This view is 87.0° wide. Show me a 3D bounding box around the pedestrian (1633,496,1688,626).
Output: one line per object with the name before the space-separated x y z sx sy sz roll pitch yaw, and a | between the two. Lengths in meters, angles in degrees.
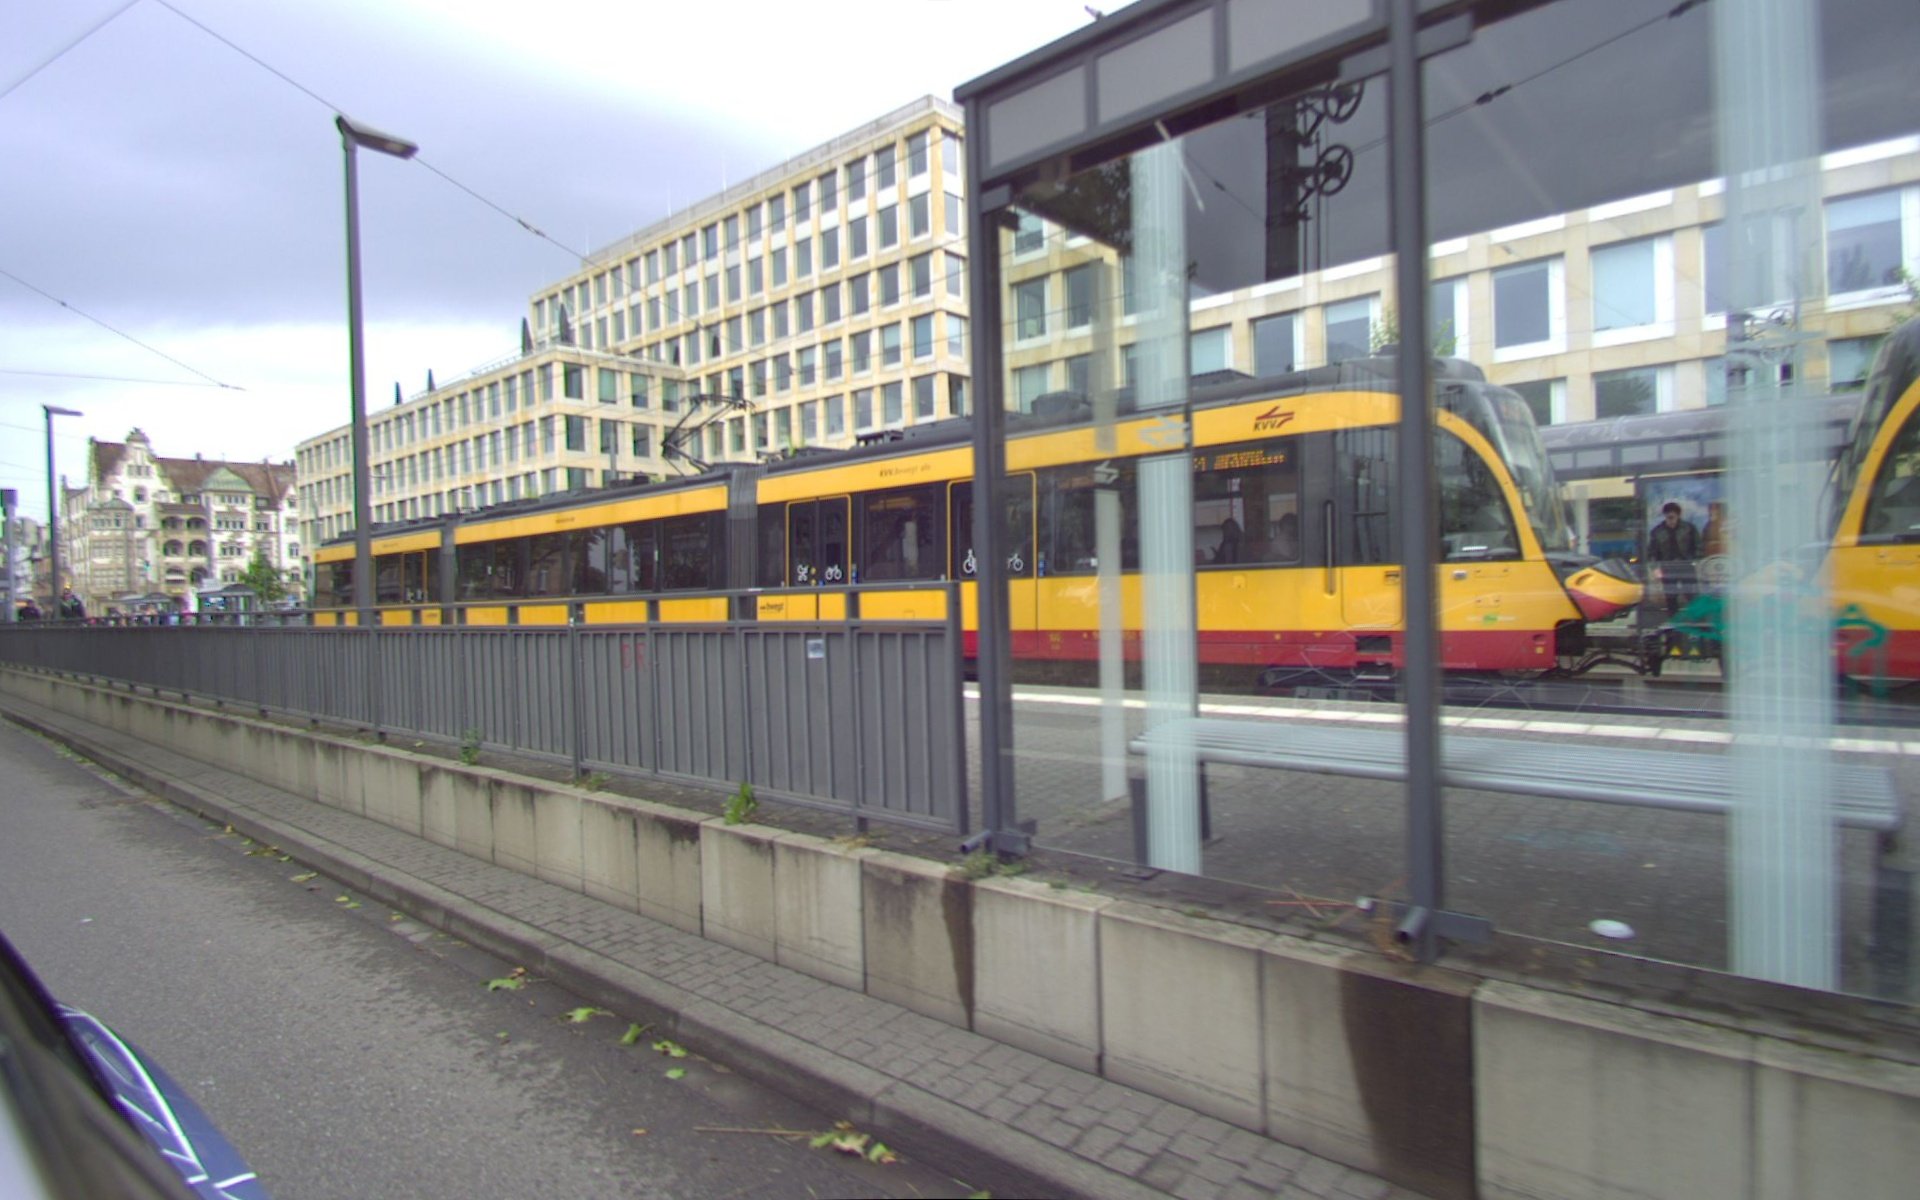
pedestrian | 9.361 -0.509 13.524 0.510 1.683 0.577 -1 0 42

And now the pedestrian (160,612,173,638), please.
pedestrian | -49.394 1.555 62.990 0.529 1.619 0.566 -1 0 -42

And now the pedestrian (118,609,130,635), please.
pedestrian | -59.486 1.571 72.035 0.588 1.783 0.589 -1 0 -42

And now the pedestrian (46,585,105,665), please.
pedestrian | -23.388 0.643 26.761 0.840 2.029 1.047 -1 0 41

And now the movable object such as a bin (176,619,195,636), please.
movable object such as a bin | -47.937 1.693 62.654 0.714 1.029 0.620 -1 0 8

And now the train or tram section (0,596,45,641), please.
train or tram section | -84.354 1.595 89.823 13.511 3.719 2.826 -1 1 40

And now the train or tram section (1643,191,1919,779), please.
train or tram section | 12.189 -0.908 4.625 14.729 4.210 3.147 -1 1 42

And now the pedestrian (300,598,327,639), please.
pedestrian | -29.292 0.836 45.837 1.159 1.809 0.704 -1 0 40

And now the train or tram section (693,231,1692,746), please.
train or tram section | 1.570 -0.871 14.002 13.615 4.210 3.147 -1 1 42

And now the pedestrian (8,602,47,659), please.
pedestrian | -30.359 0.995 32.947 1.110 1.807 0.665 -1 0 33

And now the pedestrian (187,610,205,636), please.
pedestrian | -47.753 1.433 63.245 0.649 1.619 0.578 -1 0 8

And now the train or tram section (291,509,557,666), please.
train or tram section | -16.230 -0.278 30.010 11.307 3.891 3.203 -1 1 42

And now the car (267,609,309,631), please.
car | -54.085 1.597 81.432 4.000 1.674 1.972 -1 1 43

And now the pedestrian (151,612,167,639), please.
pedestrian | -54.443 1.727 68.819 0.590 1.783 0.588 -1 0 4

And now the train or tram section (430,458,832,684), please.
train or tram section | -7.774 -0.466 22.348 11.307 3.891 3.130 -1 1 42

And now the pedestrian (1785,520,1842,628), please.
pedestrian | 10.725 -0.322 12.716 0.510 1.310 0.577 -1 0 42

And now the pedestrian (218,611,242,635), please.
pedestrian | -43.778 1.370 60.688 0.939 1.382 1.026 -1 0 44

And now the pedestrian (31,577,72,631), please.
pedestrian | -30.877 0.151 34.399 1.108 1.807 0.666 -1 0 28

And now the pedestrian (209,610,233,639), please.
pedestrian | -45.086 1.480 61.731 0.939 1.699 1.026 -1 0 44

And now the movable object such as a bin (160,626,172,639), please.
movable object such as a bin | -49.736 2.026 63.373 0.529 0.753 0.469 -2 0 -42
